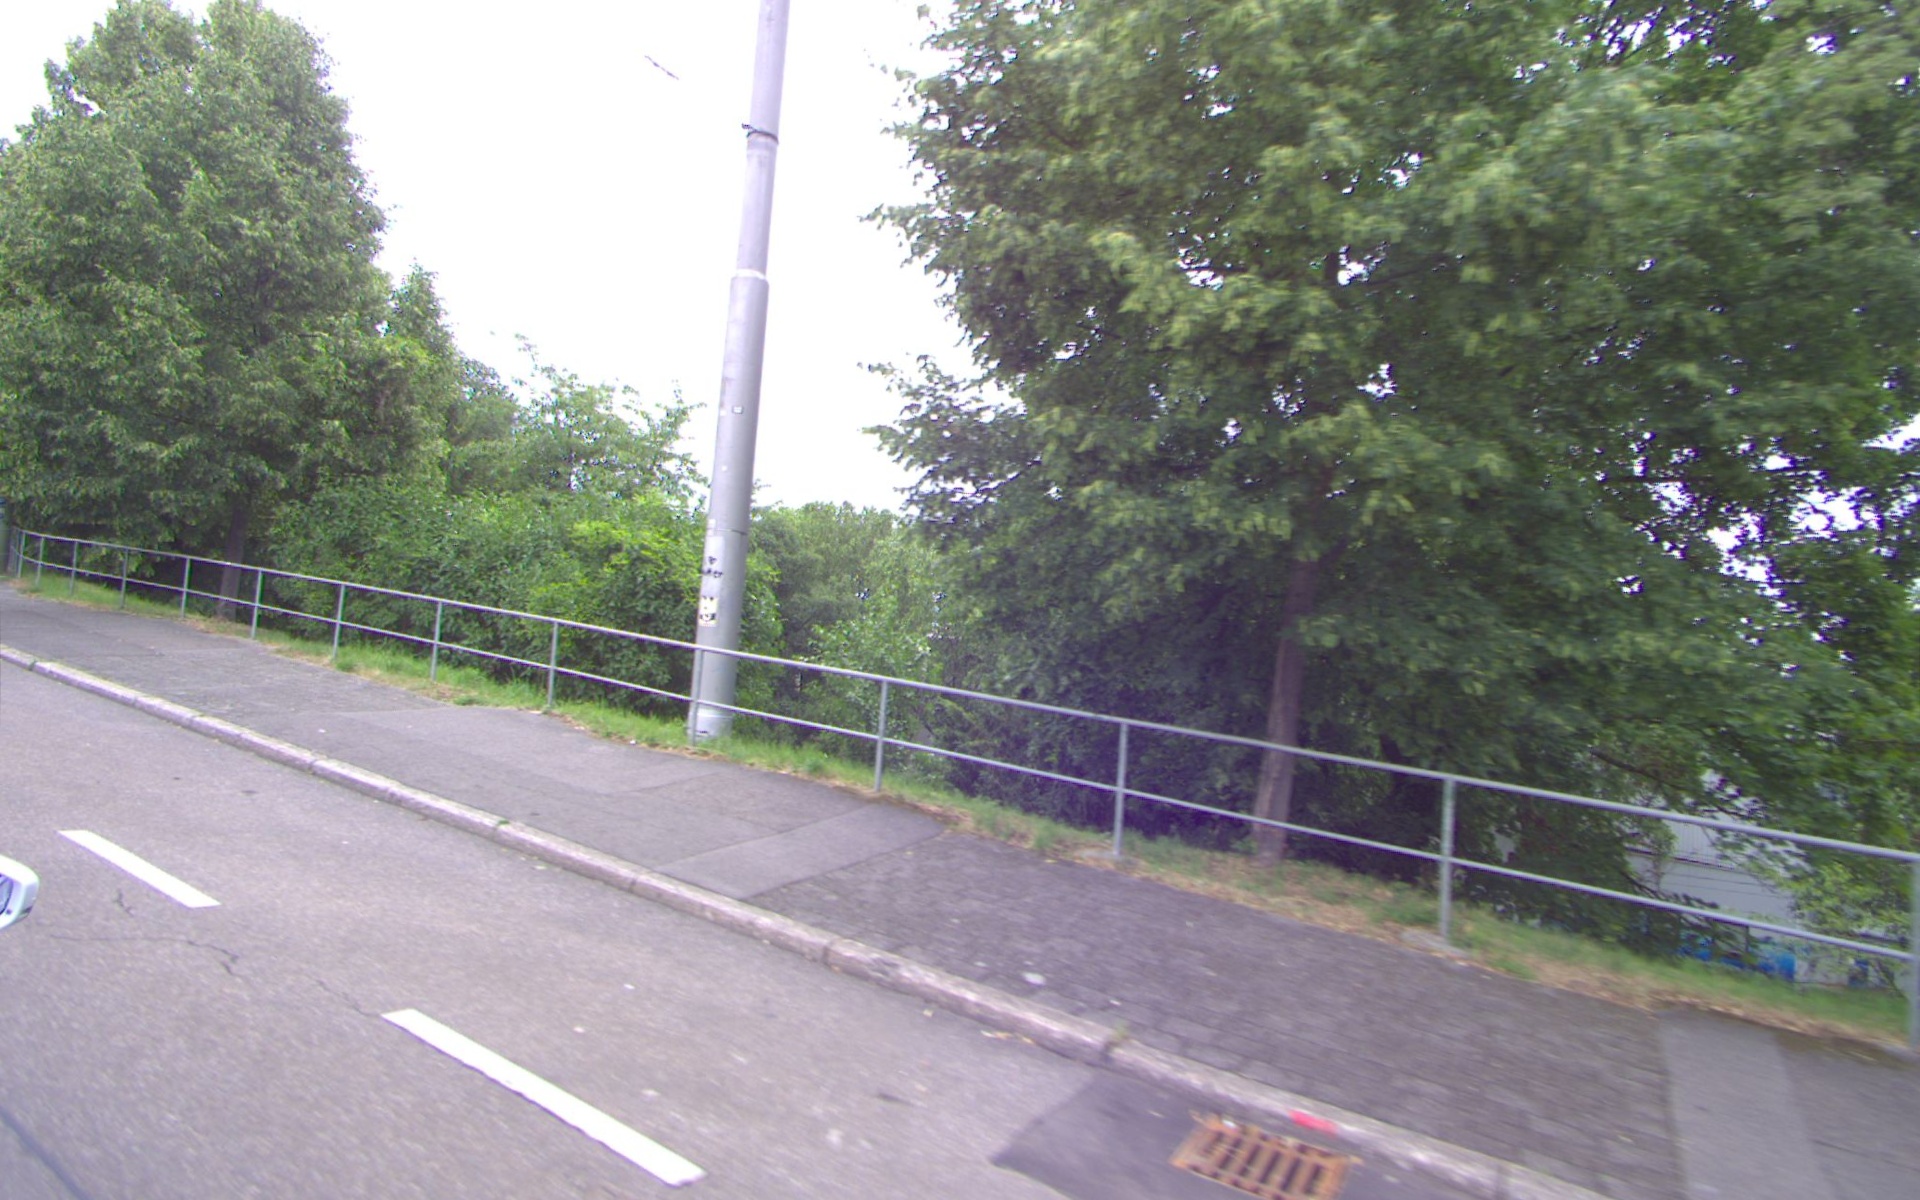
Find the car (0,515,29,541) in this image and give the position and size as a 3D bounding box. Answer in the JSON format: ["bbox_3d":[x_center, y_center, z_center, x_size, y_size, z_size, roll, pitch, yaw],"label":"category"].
[{"bbox_3d":[-68.465,-5.223,71.938,1.981,1.636,3.966,8,-3,-33],"label":"car"}]
